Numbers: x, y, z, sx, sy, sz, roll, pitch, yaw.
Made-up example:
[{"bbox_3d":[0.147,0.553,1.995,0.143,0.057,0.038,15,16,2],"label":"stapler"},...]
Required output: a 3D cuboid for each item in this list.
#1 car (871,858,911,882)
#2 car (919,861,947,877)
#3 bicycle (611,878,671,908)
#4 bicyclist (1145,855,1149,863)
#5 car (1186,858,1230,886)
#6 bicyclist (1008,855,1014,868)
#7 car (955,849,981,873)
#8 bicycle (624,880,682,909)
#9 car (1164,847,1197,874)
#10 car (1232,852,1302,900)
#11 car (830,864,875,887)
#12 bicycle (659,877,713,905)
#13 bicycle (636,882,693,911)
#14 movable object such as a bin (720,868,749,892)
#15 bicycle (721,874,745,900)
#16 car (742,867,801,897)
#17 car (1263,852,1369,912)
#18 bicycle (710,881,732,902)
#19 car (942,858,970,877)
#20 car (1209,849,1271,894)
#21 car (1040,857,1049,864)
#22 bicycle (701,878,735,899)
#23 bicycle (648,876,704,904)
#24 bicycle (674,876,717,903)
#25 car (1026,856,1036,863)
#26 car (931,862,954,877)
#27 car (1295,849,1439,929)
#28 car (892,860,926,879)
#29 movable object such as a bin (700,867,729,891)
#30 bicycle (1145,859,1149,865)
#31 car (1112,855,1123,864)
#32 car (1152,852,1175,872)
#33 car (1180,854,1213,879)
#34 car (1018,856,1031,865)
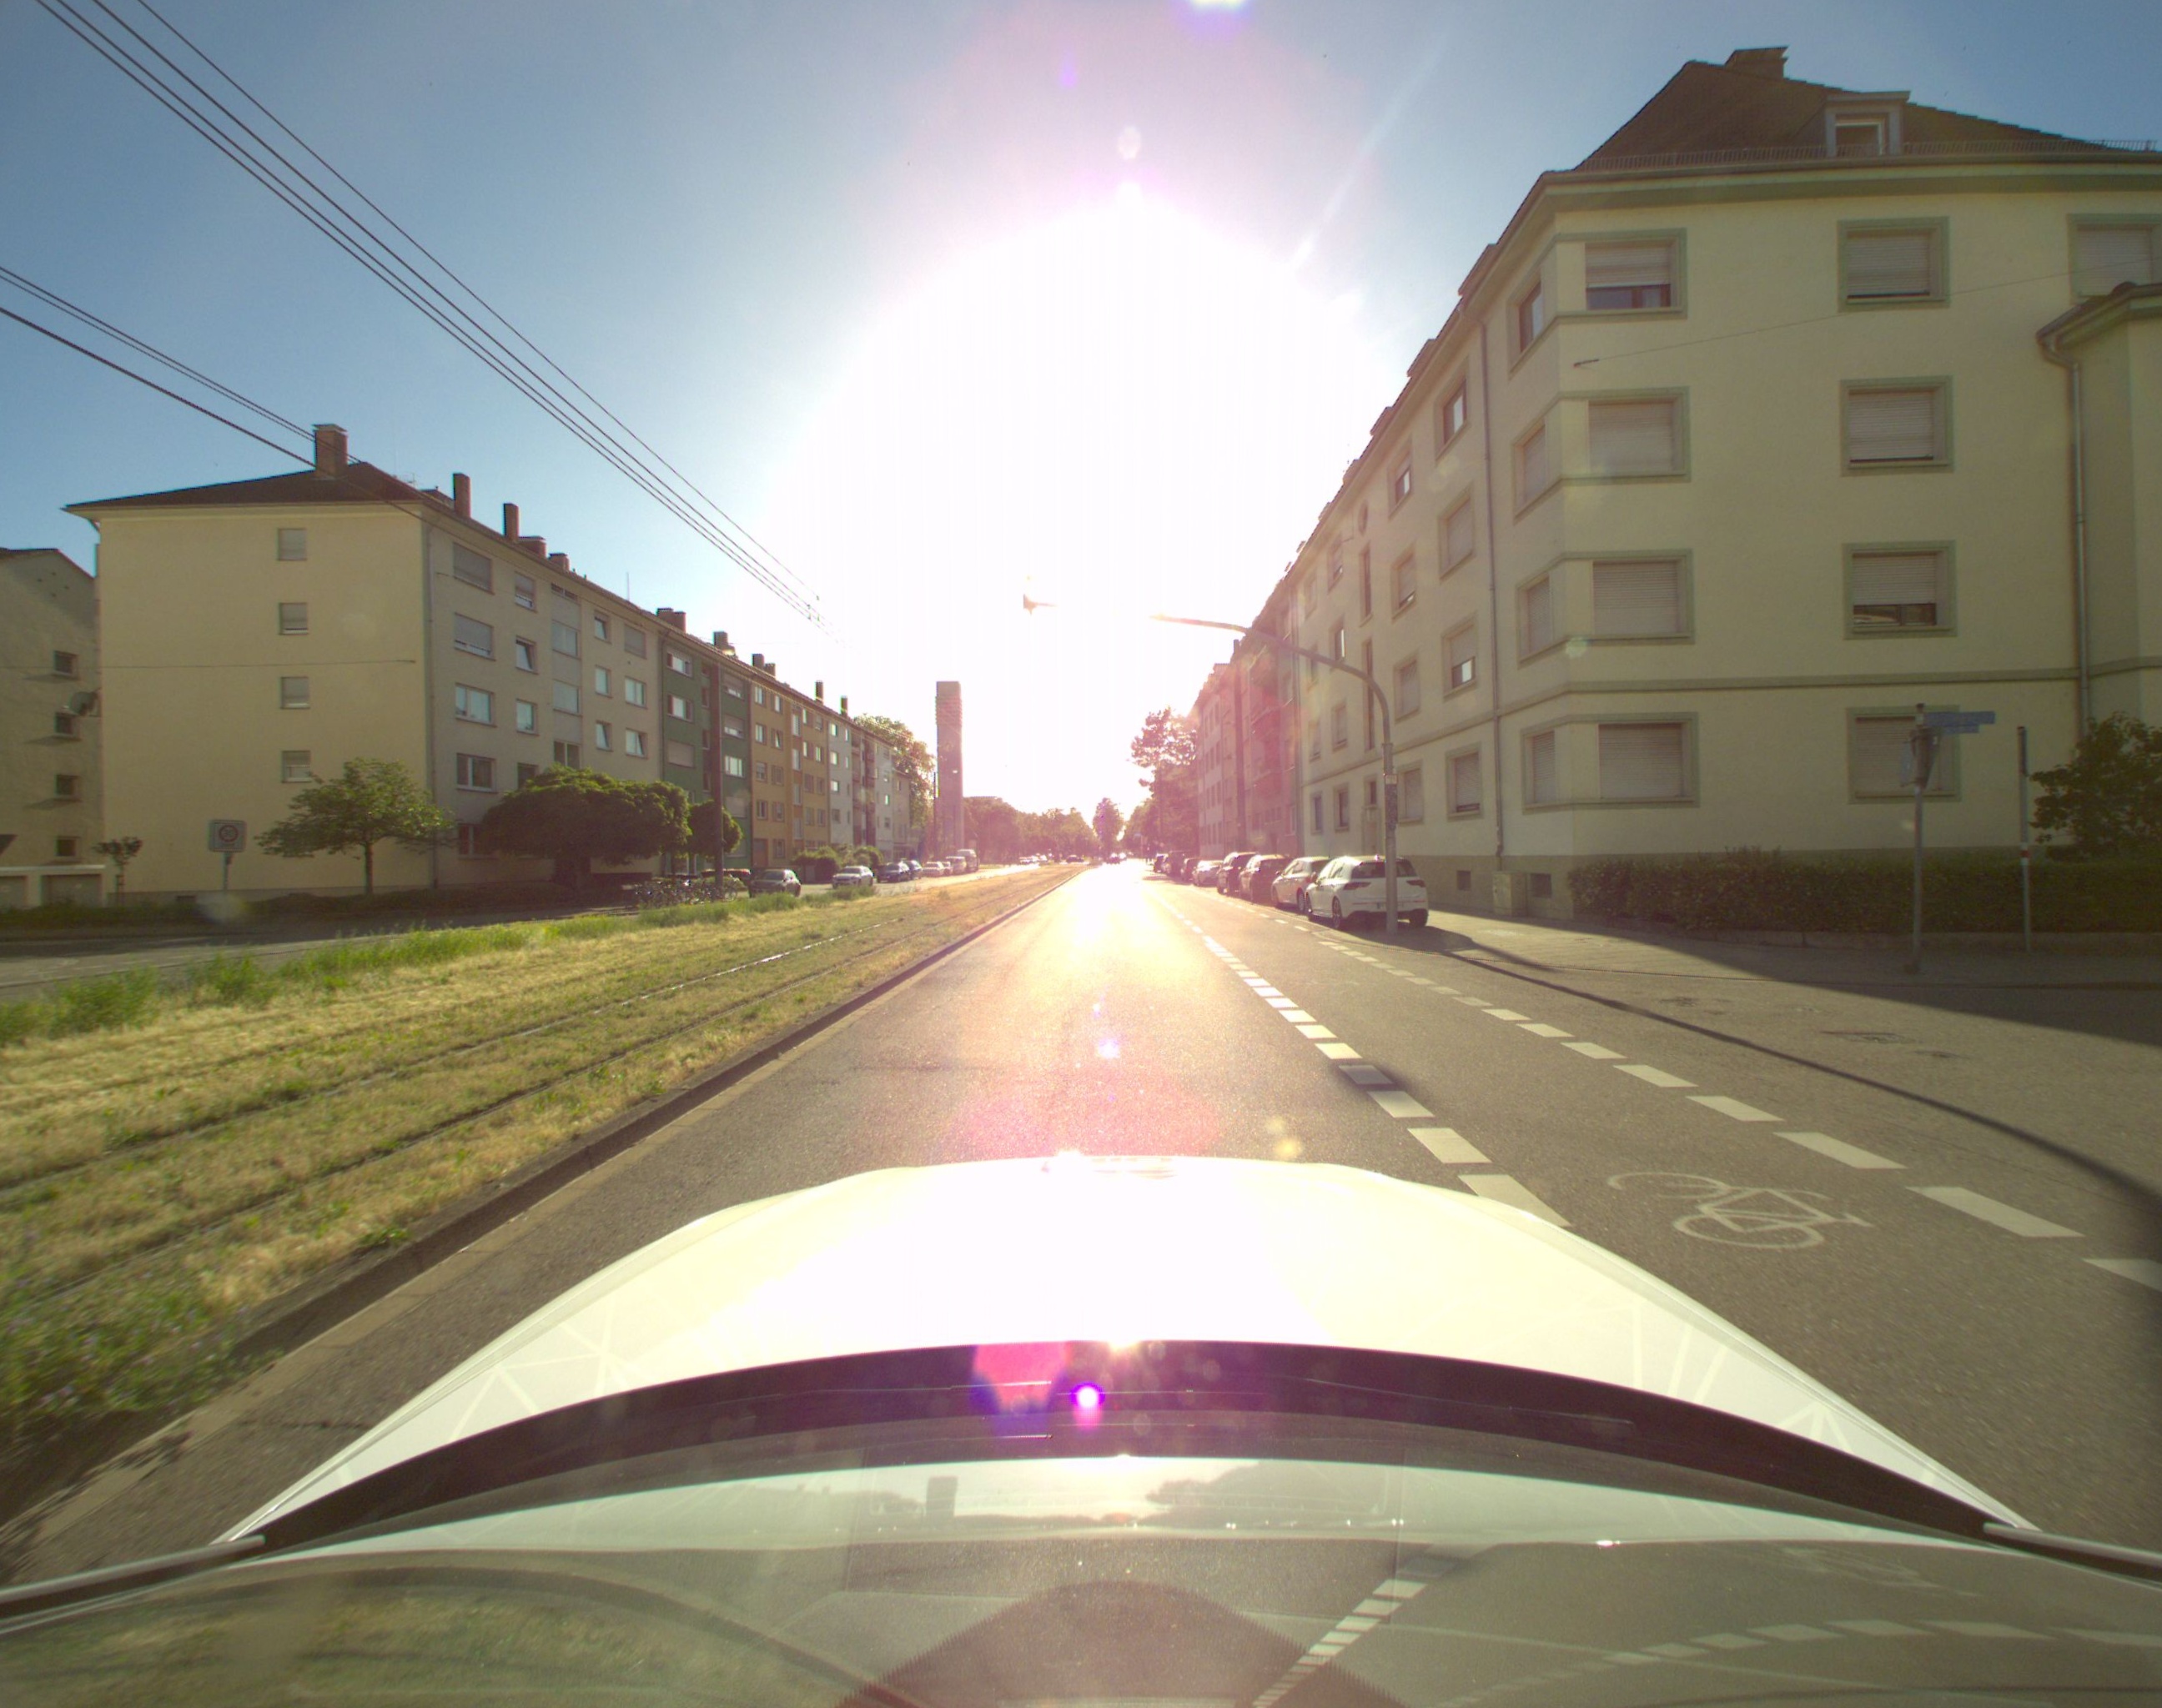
[{"bbox_3d":[-15.303,1.268,65.889,1.986,1.838,4.611,1,0,2],"label":"car"},{"bbox_3d":[-14.669,1.497,81.008,1.886,1.491,4.702,1,0,0],"label":"car"},{"bbox_3d":[-17.209,1.505,31.847,2.037,1.092,0.617,1,0,7],"label":"bicycle"},{"bbox_3d":[10.709,0.811,132.530,0.635,1.323,0.804,1,0,4],"label":"bicyclist"},{"bbox_3d":[6.851,0.951,44.289,1.696,1.275,4.304,-5,0,1],"label":"car"},{"bbox_3d":[-11.437,1.254,133.288,0.770,2.014,0.648,1,0,2],"label":"bicyclist"},{"bbox_3d":[-13.895,0.796,100.215,2.024,2.869,6.232,0,0,3],"label":"car"},{"bbox_3d":[-17.129,1.605,32.598,2.037,1.092,0.617,1,0,7],"label":"bicycle"},{"bbox_3d":[7.712,0.511,63.486,1.906,1.899,5.137,-4,0,1],"label":"car"},{"bbox_3d":[6.416,0.714,28.469,1.629,1.517,4.191,-2,0,2],"label":"car"},{"bbox_3d":[-15.584,1.436,55.722,1.722,1.454,4.378,0,0,2],"label":"car"},{"bbox_3d":[-16.834,1.567,34.696,2.037,1.092,0.617,1,0,7],"label":"bicycle"},{"bbox_3d":[-17.033,1.738,33.313,2.037,1.092,0.617,1,0,7],"label":"bicycle"},{"bbox_3d":[-20.139,1.489,47.369,1.141,1.368,1.040,1,-1,4],"label":"movable object such as a bin"},{"bbox_3d":[-15.837,1.483,37.097,0.509,1.092,1.929,1,0,-10],"label":"bicycle"},{"bbox_3d":[-16.097,1.425,42.566,1.630,1.442,3.733,1,0,0],"label":"car"},{"bbox_3d":[6.425,0.720,22.736,1.631,1.458,4.078,-2,0,-2],"label":"car"},{"bbox_3d":[-16.291,1.672,36.880,0.376,0.866,2.048,1,0,-9],"label":"bicycle"},{"bbox_3d":[-14.149,1.523,92.243,2.024,2.021,5.374,1,0,3],"label":"car"},{"bbox_3d":[6.531,0.701,33.917,1.630,1.647,4.373,-4,0,0],"label":"car"},{"bbox_3d":[-8.310,1.395,184.492,1.681,1.533,4.363,-1,0,2],"label":"car"},{"bbox_3d":[-16.336,1.565,36.649,1.567,0.869,0.420,1,0,24],"label":"bicycle"},{"bbox_3d":[-16.929,1.508,34.043,2.037,1.092,0.617,1,0,7],"label":"bicycle"},{"bbox_3d":[-17.086,1.563,36.073,2.029,1.092,0.619,1,0,29],"label":"bicycle"},{"bbox_3d":[-11.338,1.190,184.038,1.800,1.533,4.363,-1,0,2],"label":"car"},{"bbox_3d":[-14.647,1.620,86.438,1.689,1.515,4.325,0,0,-1],"label":"car"},{"bbox_3d":[5.984,0.668,17.603,1.687,1.458,4.382,-2,0,2],"label":"car"},{"bbox_3d":[-15.036,1.329,71.423,1.986,1.607,4.153,1,0,2],"label":"car"},{"bbox_3d":[-21.361,1.461,47.447,1.141,1.368,1.040,1,-1,4],"label":"movable object such as a bin"},{"bbox_3d":[10.685,1.249,132.471,0.645,0.973,1.806,1,0,5],"label":"bicycle"},{"bbox_3d":[6.076,0.955,135.130,1.689,1.508,3.698,1,0,0],"label":"car"},{"bbox_3d":[7.929,0.782,78.721,1.871,1.717,4.937,-4,0,3],"label":"car"},{"bbox_3d":[7.341,0.786,52.086,1.629,1.454,3.791,-4,0,2],"label":"car"},{"bbox_3d":[-10.130,1.192,145.635,1.687,1.448,4.220,-2,0,3],"label":"car"}]
